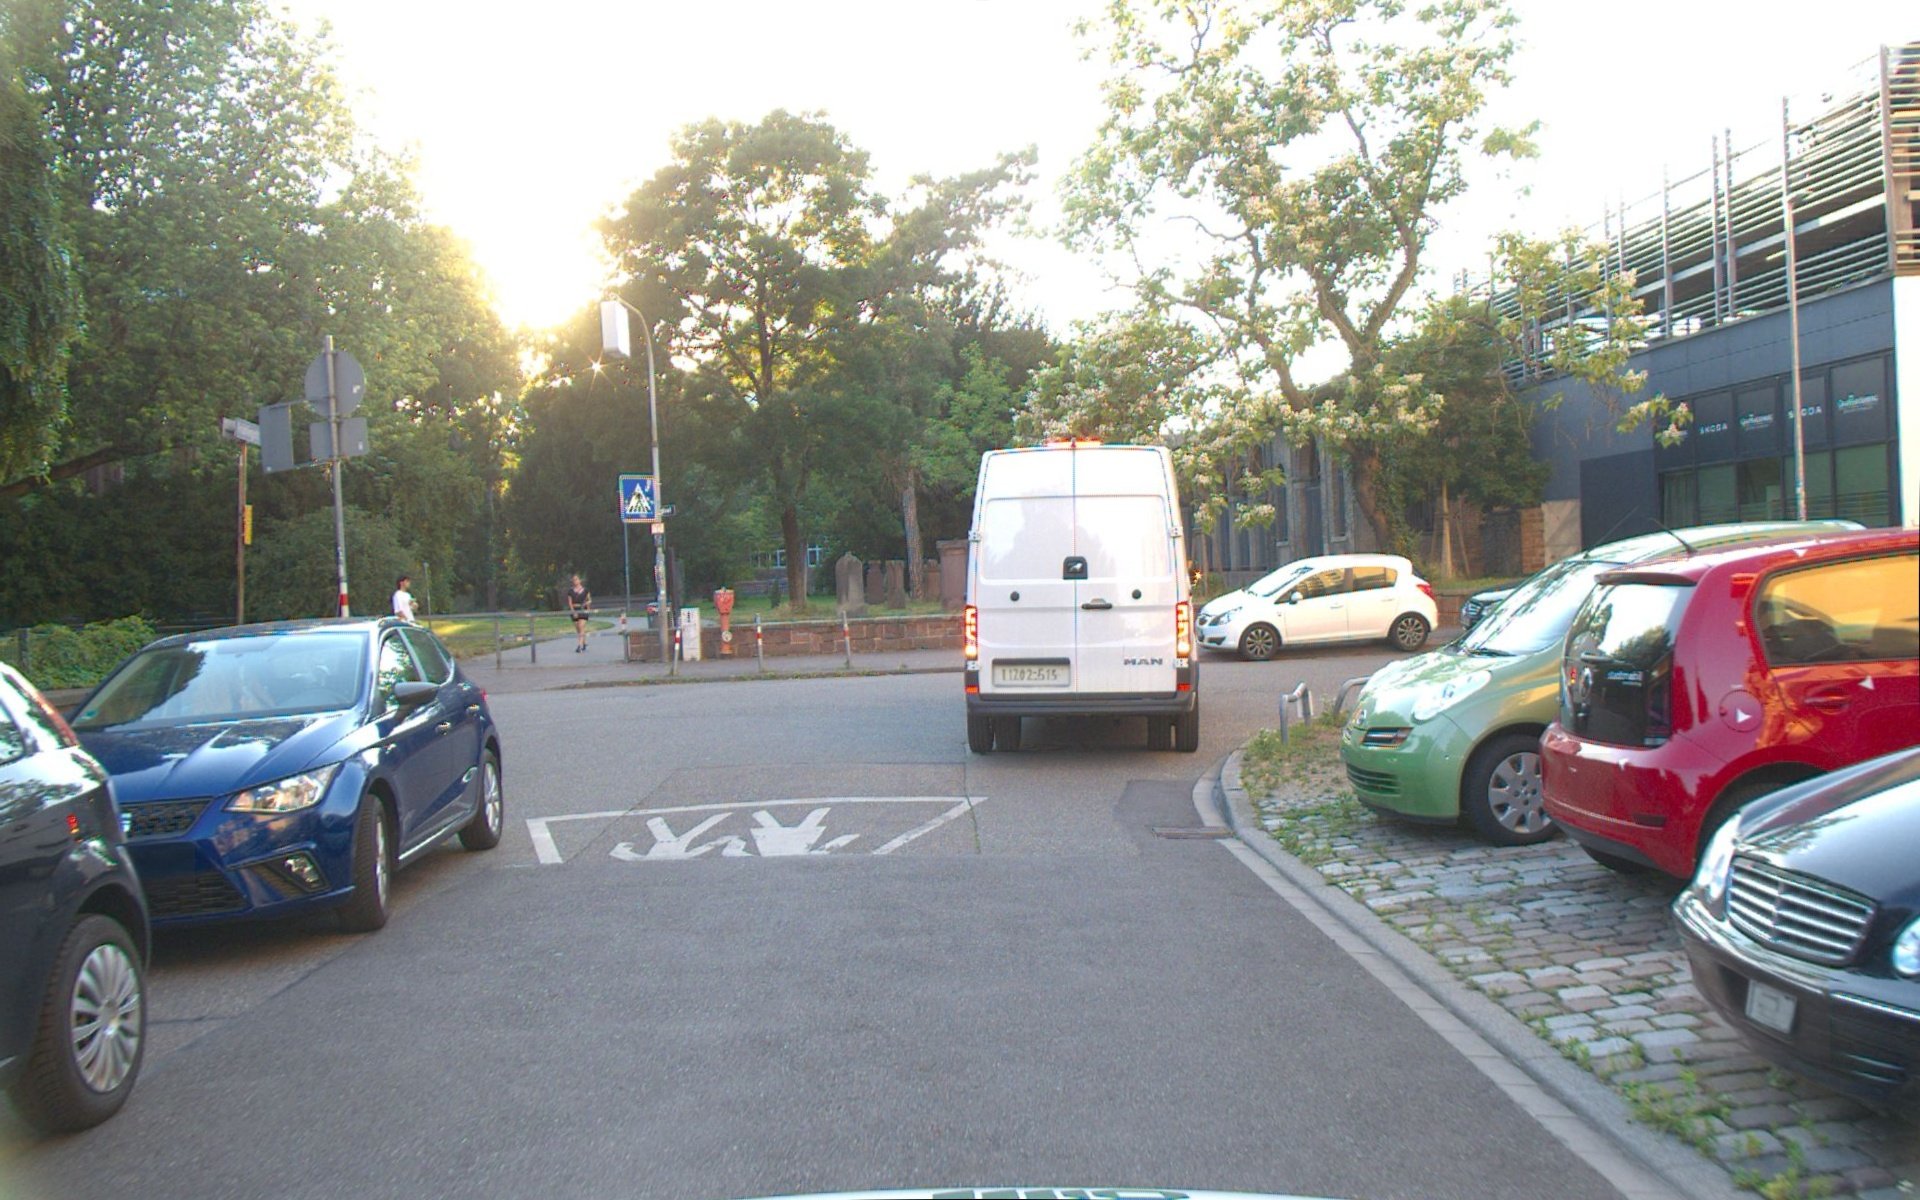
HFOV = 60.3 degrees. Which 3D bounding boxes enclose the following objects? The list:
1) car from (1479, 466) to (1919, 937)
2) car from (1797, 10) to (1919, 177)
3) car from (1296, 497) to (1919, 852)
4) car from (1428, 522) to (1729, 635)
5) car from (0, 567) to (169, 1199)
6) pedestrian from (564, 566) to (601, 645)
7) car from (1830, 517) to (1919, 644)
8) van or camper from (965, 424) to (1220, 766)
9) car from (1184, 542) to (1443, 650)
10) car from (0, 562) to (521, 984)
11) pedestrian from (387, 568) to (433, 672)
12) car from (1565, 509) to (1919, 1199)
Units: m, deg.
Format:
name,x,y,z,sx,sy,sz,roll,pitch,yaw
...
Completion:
name,x,y,z,sx,sy,sz,roll,pitch,yaw
car,4.753,0.188,7.155,4.315,1.659,1.846,-7,0,0
car,18.157,-9.763,32.092,1.952,2.049,4.002,-1,0,3
car,4.368,0.351,9.627,4.317,1.659,1.844,-4,-1,-4
car,10.058,-0.355,27.130,4.204,1.529,1.824,-4,1,3
car,-3.205,0.779,3.191,1.700,1.594,3.694,-4,1,-4
pedestrian,-8.116,0.107,35.595,0.633,1.677,0.674,-1,1,-2
car,13.562,-0.368,21.222,3.758,1.550,1.824,-4,1,3
van or camper,1.424,-0.082,16.371,1.951,2.664,6.408,2,1,7
car,5.788,-0.081,27.382,3.778,1.601,1.957,-2,1,-4
car,-3.524,0.680,8.515,1.700,1.594,3.787,-4,1,-5
pedestrian,-9.856,0.354,29.643,0.581,1.840,0.620,-1,1,0
car,4.158,0.456,4.432,4.317,1.558,1.844,-4,-1,-4
